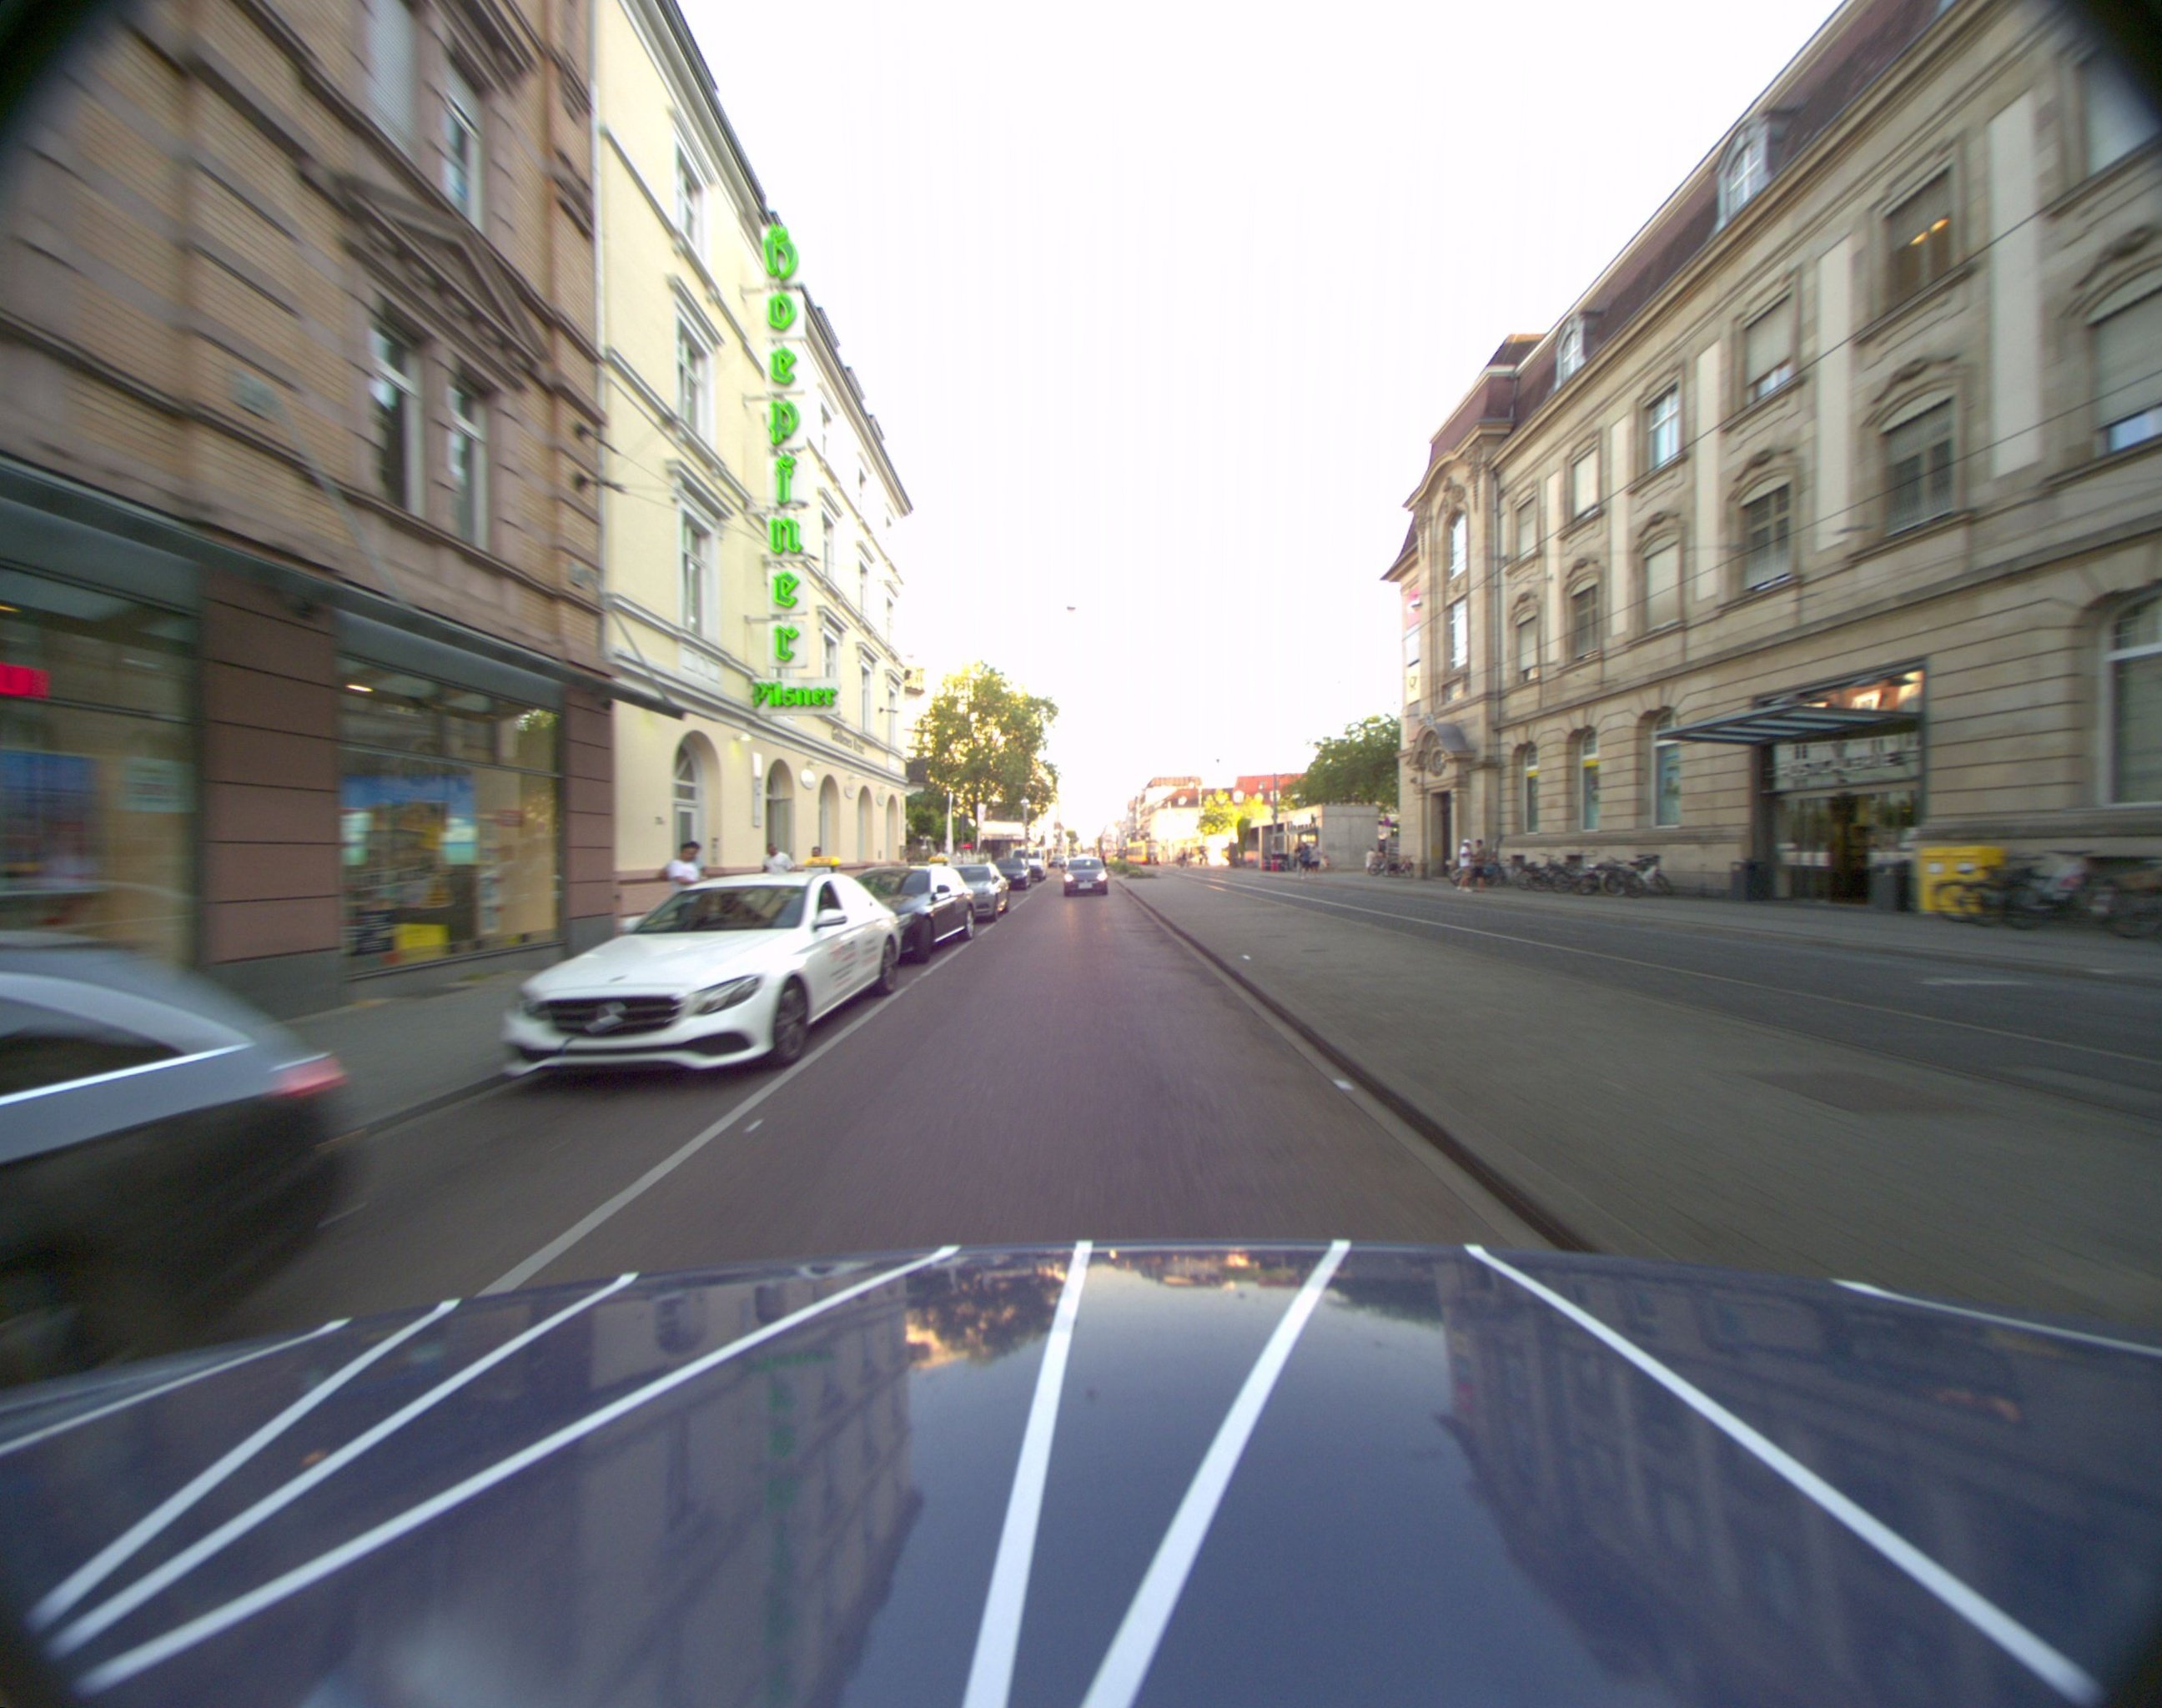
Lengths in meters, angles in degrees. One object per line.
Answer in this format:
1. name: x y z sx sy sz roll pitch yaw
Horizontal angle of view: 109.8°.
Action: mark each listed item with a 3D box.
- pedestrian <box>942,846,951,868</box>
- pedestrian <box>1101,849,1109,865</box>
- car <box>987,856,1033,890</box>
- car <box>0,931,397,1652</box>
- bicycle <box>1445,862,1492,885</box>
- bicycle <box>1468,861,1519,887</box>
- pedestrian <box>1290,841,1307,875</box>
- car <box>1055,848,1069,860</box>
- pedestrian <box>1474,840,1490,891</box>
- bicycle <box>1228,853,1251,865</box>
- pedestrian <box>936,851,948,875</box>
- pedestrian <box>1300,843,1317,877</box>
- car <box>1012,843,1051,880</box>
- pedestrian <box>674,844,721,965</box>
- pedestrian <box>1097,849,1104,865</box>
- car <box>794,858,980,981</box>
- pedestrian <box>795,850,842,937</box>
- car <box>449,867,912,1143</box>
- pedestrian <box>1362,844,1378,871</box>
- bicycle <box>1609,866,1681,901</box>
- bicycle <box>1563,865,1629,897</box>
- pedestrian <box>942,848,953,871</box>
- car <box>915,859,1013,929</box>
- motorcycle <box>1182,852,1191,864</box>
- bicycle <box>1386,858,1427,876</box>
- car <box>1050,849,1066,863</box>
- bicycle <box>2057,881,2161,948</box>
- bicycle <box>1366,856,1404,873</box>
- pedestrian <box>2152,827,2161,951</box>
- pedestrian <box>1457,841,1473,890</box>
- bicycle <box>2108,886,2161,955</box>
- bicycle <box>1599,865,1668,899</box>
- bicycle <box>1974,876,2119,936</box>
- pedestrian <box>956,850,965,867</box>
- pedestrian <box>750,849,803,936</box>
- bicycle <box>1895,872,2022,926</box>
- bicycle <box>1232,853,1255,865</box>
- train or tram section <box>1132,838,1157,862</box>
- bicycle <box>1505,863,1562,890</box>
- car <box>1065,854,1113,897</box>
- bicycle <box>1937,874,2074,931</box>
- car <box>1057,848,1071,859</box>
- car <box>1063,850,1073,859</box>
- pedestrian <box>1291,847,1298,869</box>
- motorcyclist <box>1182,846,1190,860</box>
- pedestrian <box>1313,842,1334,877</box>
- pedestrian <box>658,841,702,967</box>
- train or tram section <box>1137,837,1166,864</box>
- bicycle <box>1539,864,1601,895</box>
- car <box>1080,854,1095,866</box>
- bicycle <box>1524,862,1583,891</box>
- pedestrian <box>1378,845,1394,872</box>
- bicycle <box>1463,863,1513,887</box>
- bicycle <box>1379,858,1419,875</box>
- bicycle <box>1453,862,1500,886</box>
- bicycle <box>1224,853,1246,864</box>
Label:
1. pedestrian: -9.469 0.228 53.576 0.490 1.549 0.532 -1 1 0
2. pedestrian: 2.440 0.307 77.565 0.638 1.616 0.519 -1 2 -10
3. car: -3.215 0.813 35.270 1.701 1.382 4.547 1 1 0
4. car: -3.249 1.058 0.188 1.730 1.468 4.819 -2 1 0
5. bicycle: 15.366 0.769 30.142 1.579 0.869 0.451 -2 1 5
6. bicycle: 15.071 0.727 27.753 1.579 0.869 0.451 -2 1 5
7. pedestrian: 11.167 0.204 39.011 0.650 1.726 0.594 0 0 -9
8. car: -2.571 -0.077 104.061 1.771 1.565 3.999 1 1 0
9. pedestrian: 13.254 0.367 25.105 0.375 1.664 0.494 -1 2 33
10. bicycle: 16.043 0.496 77.032 2.131 1.153 0.692 -1 1 2
11. pedestrian: -7.539 0.465 41.226 0.532 1.289 0.491 -1 1 0
12. pedestrian: 11.400 0.295 38.109 0.483 1.726 0.679 0 1 -29
13. car: -2.840 0.397 44.701 1.857 2.055 5.215 0 1 1
14. pedestrian: -5.731 0.737 11.383 0.374 1.758 0.663 1 1 -3
15. pedestrian: 1.999 0.267 78.313 0.638 1.616 0.519 -1 2 -10
16. car: -3.047 0.947 12.977 1.737 1.581 4.442 -3 1 3
17. pedestrian: -5.237 0.776 15.159 0.619 1.679 0.486 4 1 17
18. car: -3.057 0.997 7.215 1.737 1.502 4.864 -3 1 0
19. pedestrian: 17.253 0.214 45.336 0.661 1.553 0.679 -1 1 -3
20. bicycle: 15.402 0.806 20.777 1.579 0.869 0.451 -2 1 5
21. bicycle: 15.164 0.793 22.407 1.579 0.869 0.451 -2 1 5
22. pedestrian: -7.641 0.319 43.422 0.532 1.289 0.490 -1 1 -15
23. car: -2.933 0.956 20.032 1.810 1.467 4.692 -2 1 0
24. motorcycle: 11.546 0.394 83.574 0.805 1.230 1.779 -2 1 3
25. bicycle: 16.885 0.663 39.478 1.840 0.863 0.635 -2 1 -2
26. car: -2.701 0.260 89.820 1.771 1.565 3.999 1 1 0
27. bicycle: 15.083 0.854 10.852 1.579 0.869 0.451 -2 1 5
28. bicycle: 16.923 0.606 42.256 1.840 0.863 0.635 -2 1 -2
29. pedestrian: 14.322 0.453 9.816 0.365 1.624 0.430 -2 1 6
30. pedestrian: 12.821 0.378 25.380 0.375 1.622 0.494 -1 2 35
31. bicycle: 14.971 0.877 10.217 1.579 0.869 0.451 -2 1 5
32. bicycle: 15.614 0.789 21.494 1.579 0.869 0.451 -2 1 5
33. bicycle: 15.158 0.811 11.947 1.579 0.869 0.451 -2 1 5
34. pedestrian: -8.964 0.318 56.488 0.532 1.289 0.491 -1 1 0
35. pedestrian: -6.111 0.753 15.268 0.761 1.679 0.551 4 1 0
36. bicycle: 15.197 0.773 13.178 1.579 0.869 0.451 -2 1 5
37. bicycle: 16.088 0.516 75.412 2.131 1.153 0.692 -1 1 2
38. train or tram section: 10.213 -0.565 123.281 2.902 3.664 11.983 -1 0 0
39. bicycle: 15.203 0.751 25.536 1.579 0.869 0.451 -2 1 5
40. car: 0.312 0.801 30.349 1.738 1.495 3.999 -2 1 1
41. bicycle: 15.225 0.799 12.532 1.579 0.869 0.451 -2 1 5
42. car: -2.433 -0.110 109.416 1.771 1.565 3.999 1 1 0
43. car: -2.433 0.094 146.741 1.771 1.565 3.999 1 1 0
44. pedestrian: 16.240 0.281 57.763 0.394 1.643 0.401 -2 1 -6
45. motorcyclist: 11.519 -0.102 83.566 0.799 1.431 0.800 -2 1 3
46. pedestrian: 12.175 0.282 38.148 0.677 1.726 0.679 0 1 -30
47. pedestrian: -5.704 0.699 10.810 0.374 1.758 0.455 1 1 -3
48. train or tram section: 10.178 -0.429 110.580 2.902 3.664 13.480 -1 0 0
49. bicycle: 15.044 0.784 23.402 1.579 0.869 0.451 -2 1 5
50. car: 0.797 0.741 99.332 1.810 1.474 4.283 -3 0 0
51. bicycle: 15.375 0.734 24.754 1.579 0.869 0.451 -2 1 5
52. pedestrian: 17.889 0.282 44.546 0.661 1.553 0.679 -1 1 -3
53. bicycle: 15.361 0.788 28.683 1.579 0.869 0.451 -2 1 5
54. bicycle: 16.821 0.656 40.201 1.840 0.863 0.635 -2 1 -2
55. bicycle: 15.394 0.775 29.603 1.579 0.869 0.451 -2 1 5
56. bicycle: 15.915 0.478 78.770 2.131 1.153 0.692 -1 1 2
